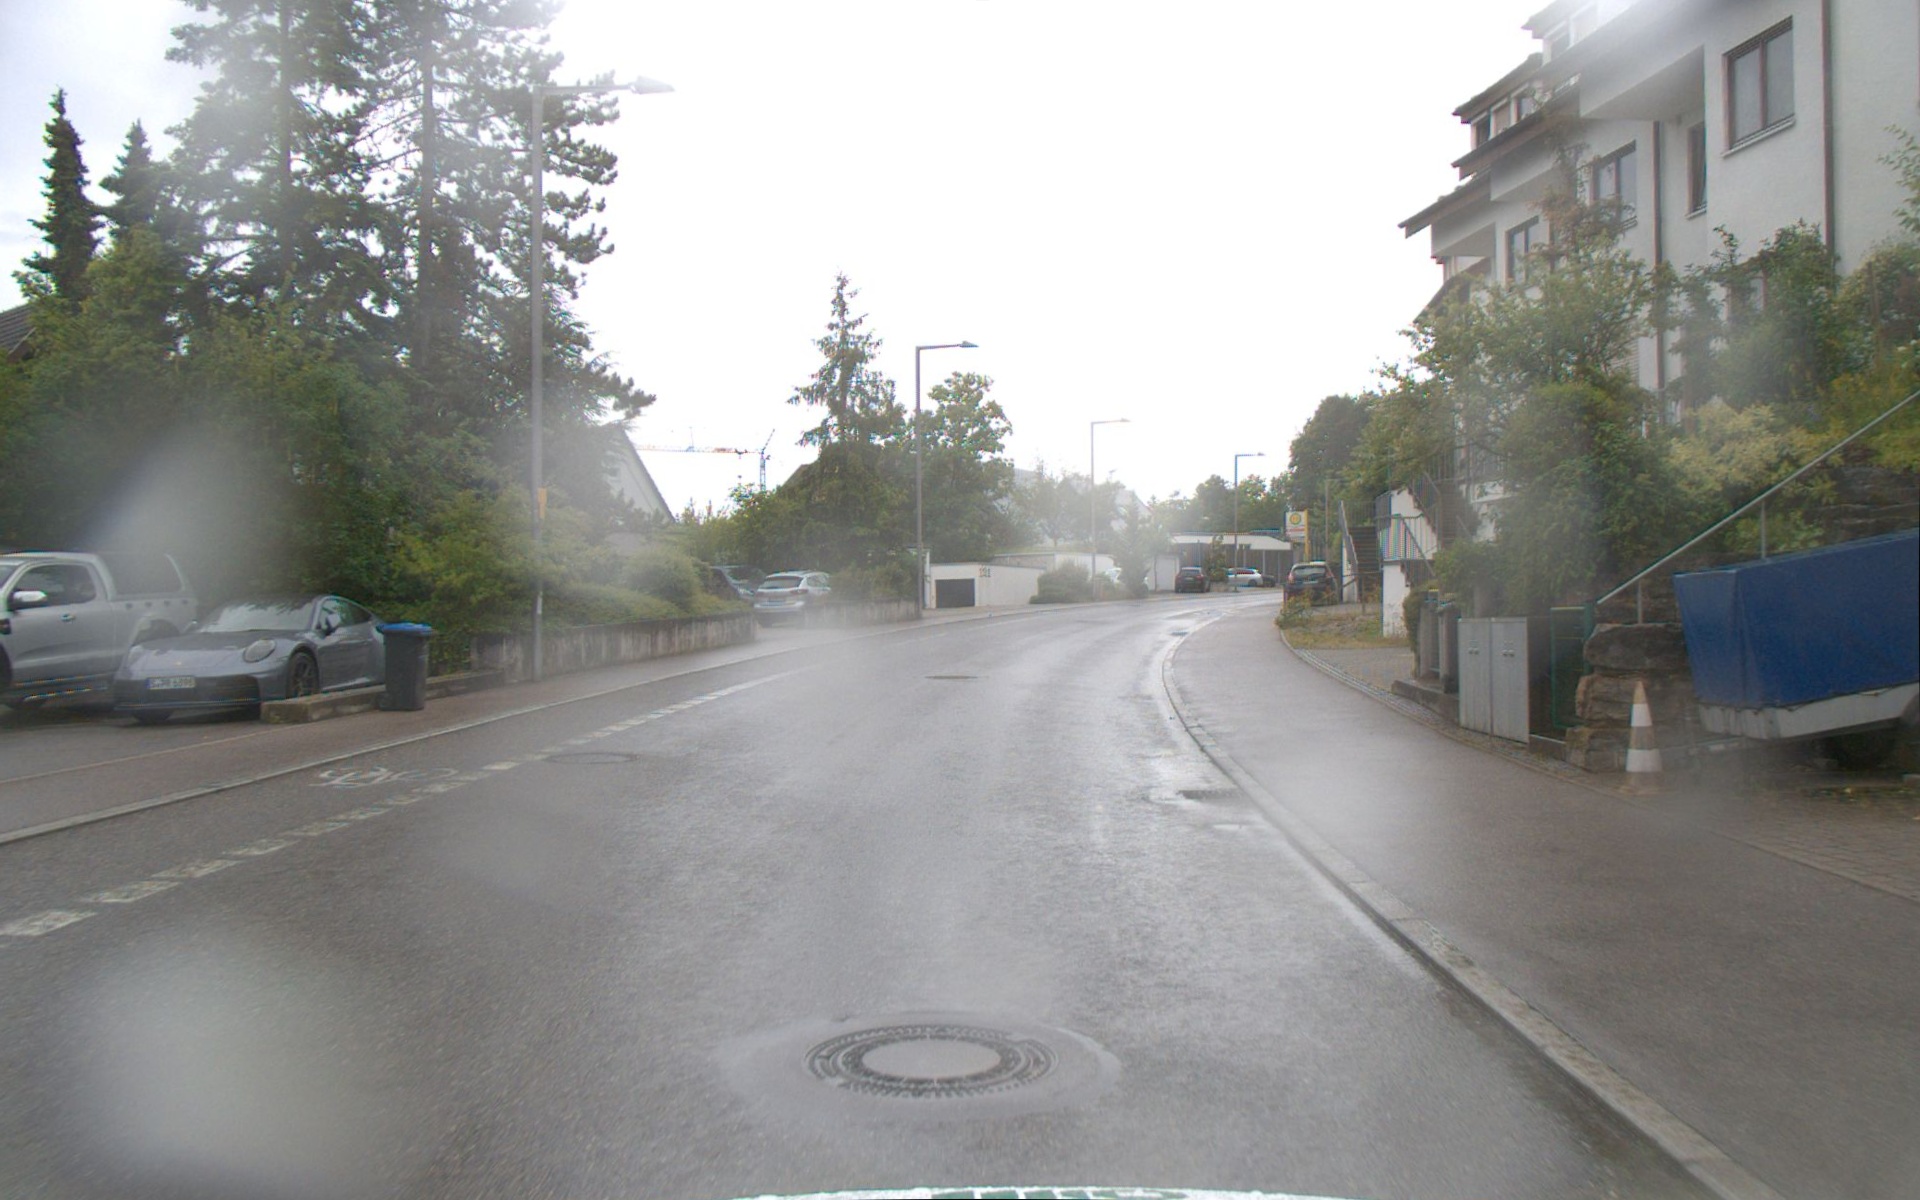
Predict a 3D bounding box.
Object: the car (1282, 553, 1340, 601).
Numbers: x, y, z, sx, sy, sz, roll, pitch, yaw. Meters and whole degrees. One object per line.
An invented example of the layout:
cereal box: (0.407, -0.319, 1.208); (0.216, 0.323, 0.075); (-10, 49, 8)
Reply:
car: (12.052, -0.791, 56.655); (1.669, 1.479, 4.024); (-4, 0, 15)

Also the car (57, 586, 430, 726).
car: (-7.799, 0.533, 18.560); (1.951, 1.330, 4.436); (-1, 1, 5)

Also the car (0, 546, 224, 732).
car: (-10.556, 0.384, 18.326); (1.951, 1.876, 5.482); (-1, 1, 5)

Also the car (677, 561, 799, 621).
car: (-7.297, -0.301, 54.097); (1.986, 1.870, 3.934); (-2, 1, -45)

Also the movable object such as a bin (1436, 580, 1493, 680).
movable object such as a bin: (5.504, 0.317, 18.062); (0.481, 1.065, 0.577); (-1, 0, 5)

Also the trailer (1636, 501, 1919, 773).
trailer: (6.401, 0.232, 11.872); (2.305, 1.778, 2.000); (-1, 0, 1)

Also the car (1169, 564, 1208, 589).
car: (13.630, -1.440, 98.442); (1.795, 1.430, 4.264); (0, 1, 15)

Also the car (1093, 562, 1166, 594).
car: (8.798, -1.138, 85.587); (1.677, 1.580, 4.370); (0, 1, 38)

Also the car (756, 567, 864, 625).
car: (-4.239, -0.146, 47.319); (1.698, 1.578, 4.003); (-1, 1, 17)

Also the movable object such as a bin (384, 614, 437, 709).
movable object such as a bin: (-6.019, 0.663, 18.133); (0.362, 1.005, 0.558); (-1, 0, 2)

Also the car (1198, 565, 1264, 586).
car: (19.609, -1.784, 119.675); (4.444, 1.467, 1.754); (0, 1, -15)

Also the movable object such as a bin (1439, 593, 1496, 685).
movable object such as a bin: (5.339, 0.403, 17.421); (0.481, 0.939, 0.457); (-1, 0, 5)
